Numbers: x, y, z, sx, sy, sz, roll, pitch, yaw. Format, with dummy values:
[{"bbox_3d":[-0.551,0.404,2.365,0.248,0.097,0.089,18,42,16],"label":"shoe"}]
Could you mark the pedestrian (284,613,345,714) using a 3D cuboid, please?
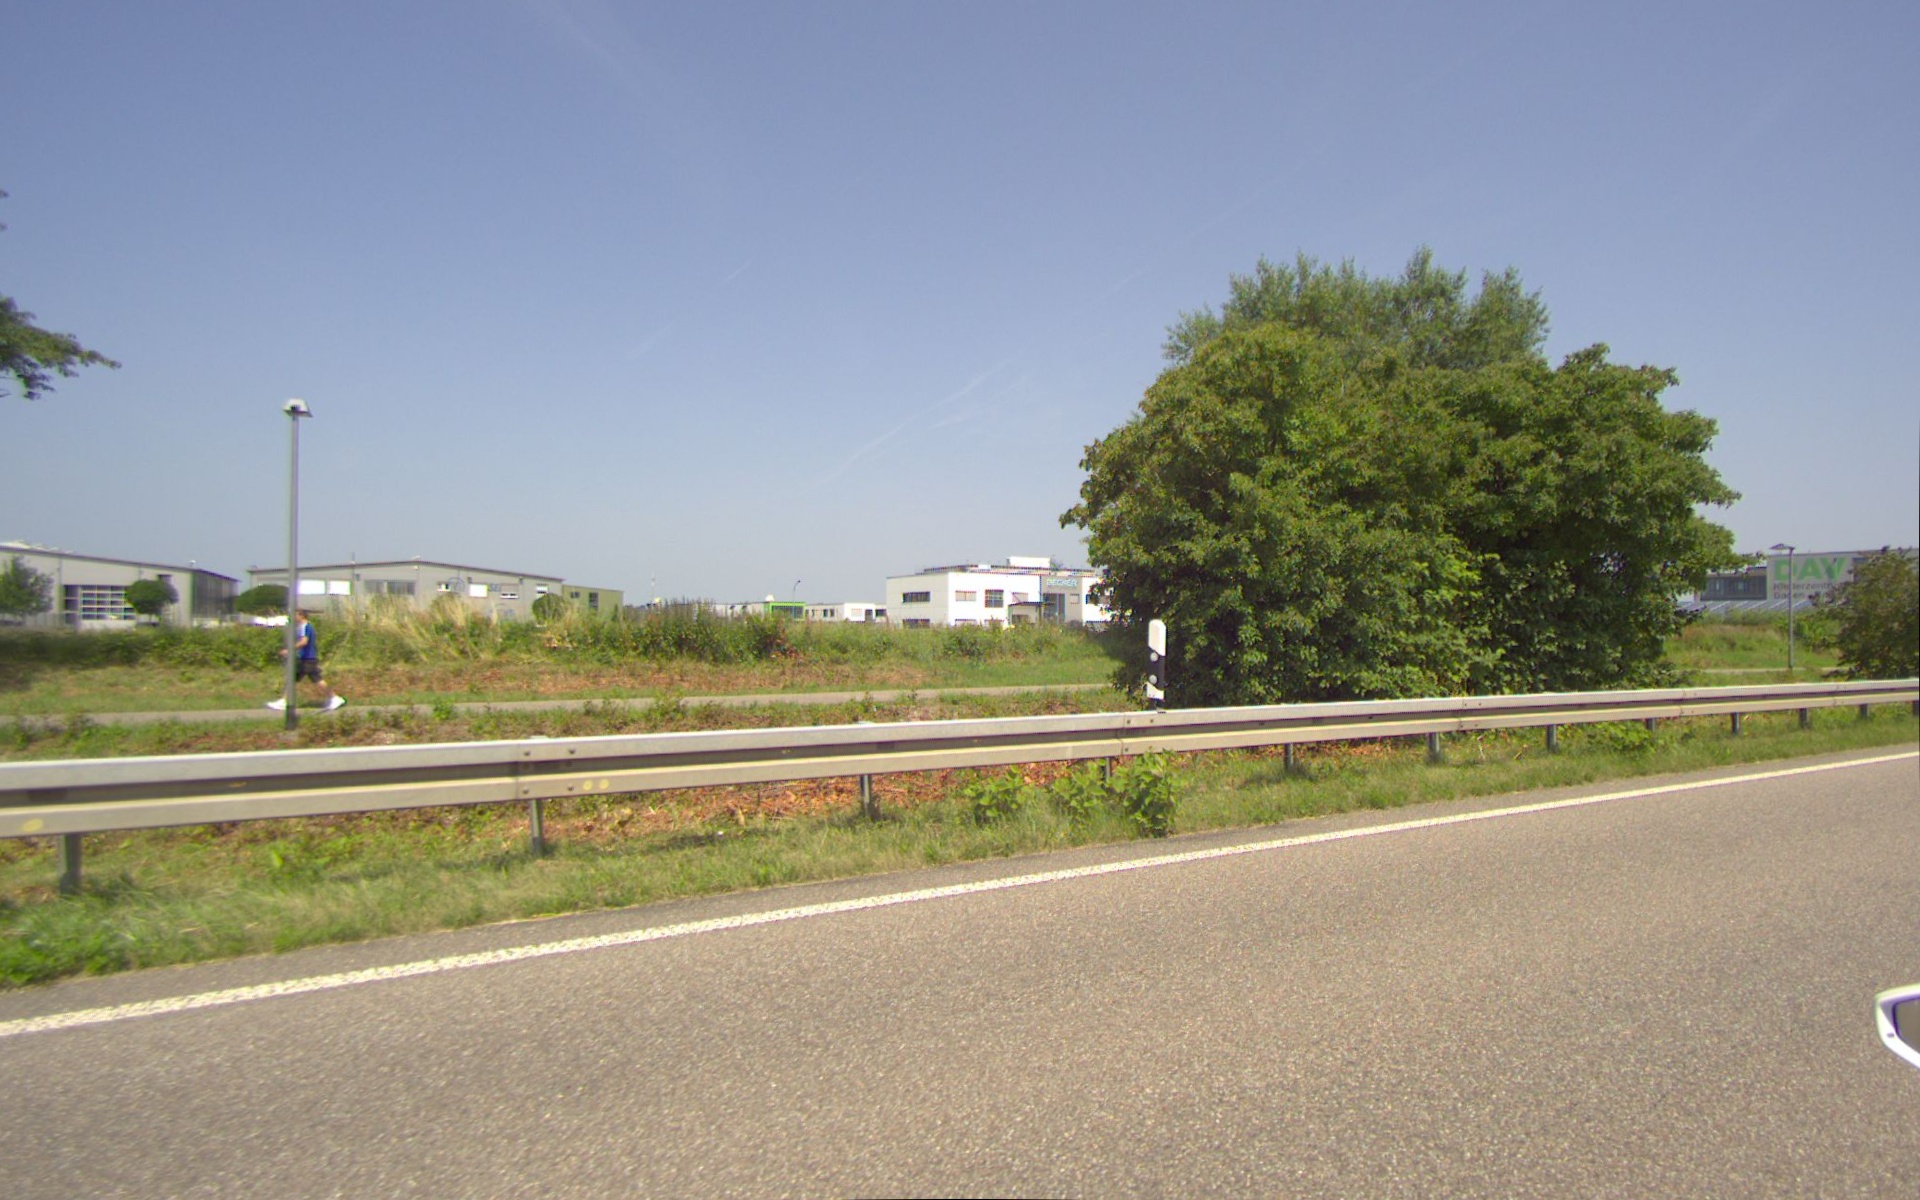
[{"bbox_3d":[-11.610,1.131,18.086,0.810,1.773,0.577,1,-2,-26],"label":"pedestrian"}]
